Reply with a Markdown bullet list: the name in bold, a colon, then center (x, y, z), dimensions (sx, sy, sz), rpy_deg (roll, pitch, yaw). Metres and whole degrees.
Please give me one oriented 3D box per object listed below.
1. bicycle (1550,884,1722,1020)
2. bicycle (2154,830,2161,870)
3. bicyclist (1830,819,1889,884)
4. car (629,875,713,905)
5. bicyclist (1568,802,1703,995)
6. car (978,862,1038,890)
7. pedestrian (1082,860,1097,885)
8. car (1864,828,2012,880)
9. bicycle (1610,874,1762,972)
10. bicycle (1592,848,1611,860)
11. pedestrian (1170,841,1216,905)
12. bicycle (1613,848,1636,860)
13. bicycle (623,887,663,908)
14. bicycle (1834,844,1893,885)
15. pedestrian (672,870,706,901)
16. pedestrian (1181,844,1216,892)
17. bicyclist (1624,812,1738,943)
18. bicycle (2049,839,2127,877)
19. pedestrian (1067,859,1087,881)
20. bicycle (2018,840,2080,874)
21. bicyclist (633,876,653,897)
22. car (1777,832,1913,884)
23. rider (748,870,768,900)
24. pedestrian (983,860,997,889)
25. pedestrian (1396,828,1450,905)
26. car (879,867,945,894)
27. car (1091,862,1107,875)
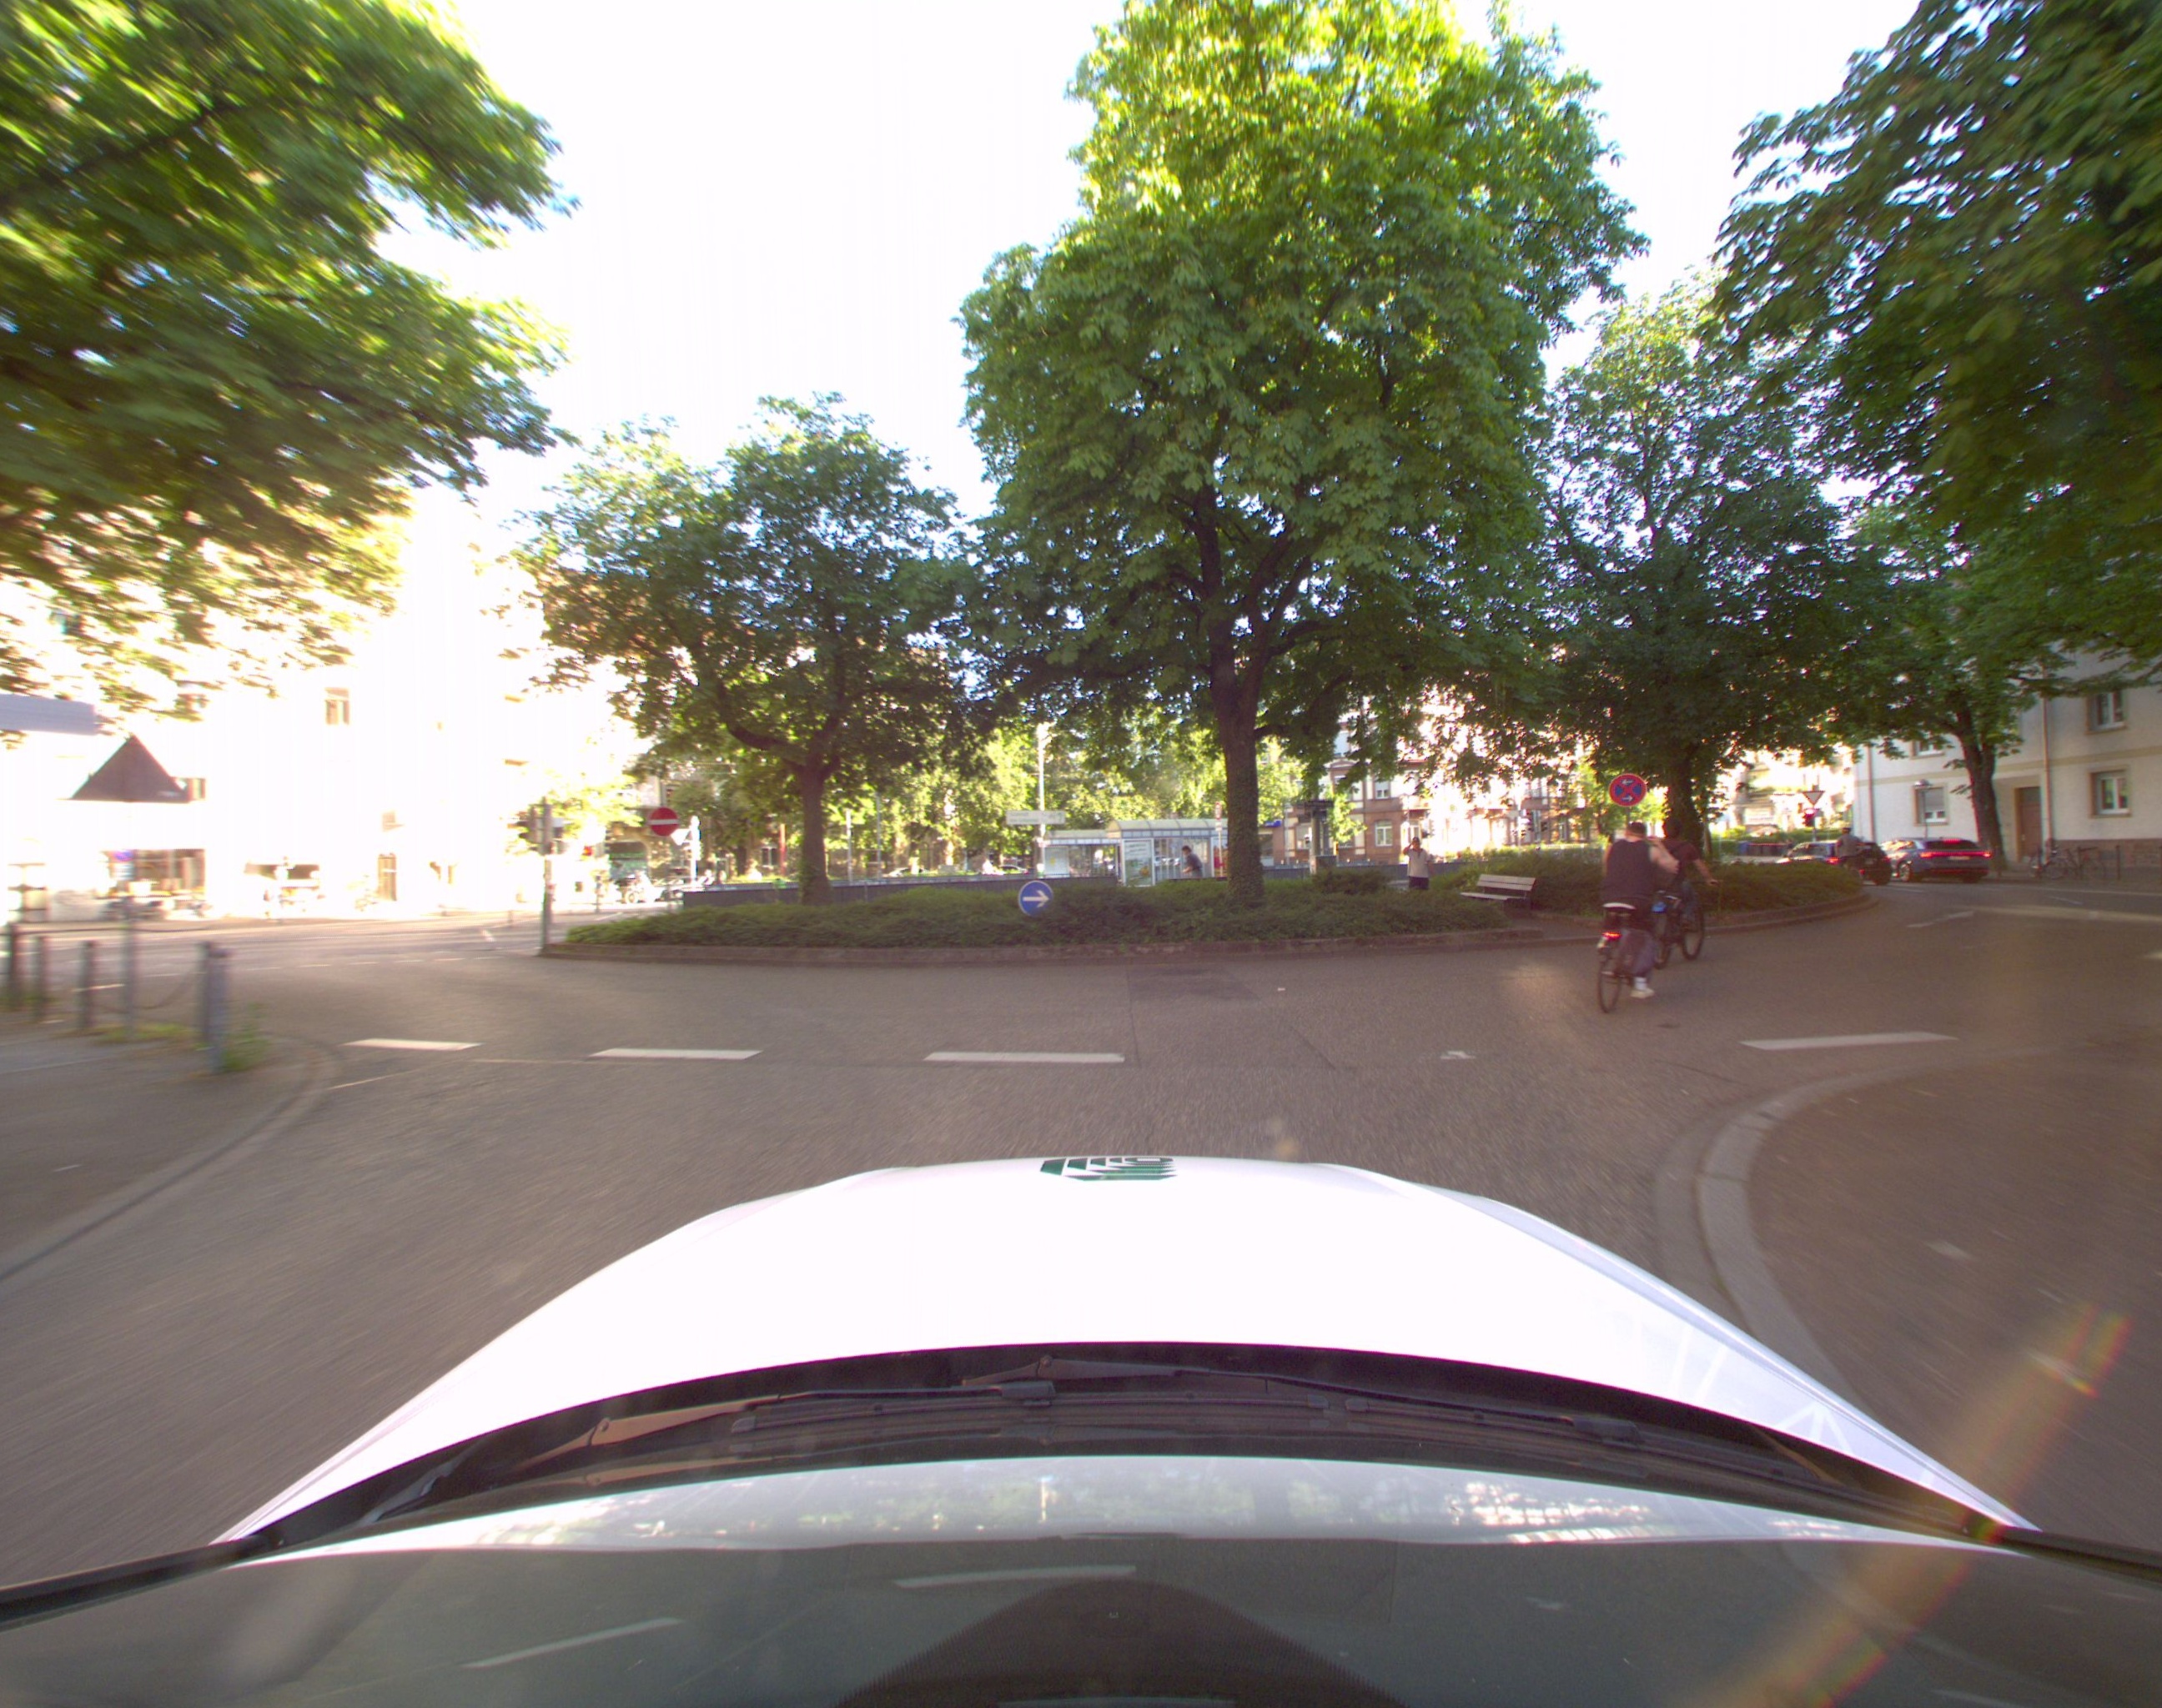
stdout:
- **bicycle**: center (5.289, 0.853, 7.708), dimensions (2.071, 1.012, 0.731), rpy_deg (-2, 0, -38)
- **bicycle**: center (31.505, -0.138, 22.982), dimensions (0.489, 1.172, 2.129), rpy_deg (-6, -3, 26)
- **bicyclist**: center (23.447, -0.067, 24.548), dimensions (0.843, 1.898, 1.146), rpy_deg (-3, -1, 22)
- **car**: center (-22.697, 1.974, 45.160), dimensions (1.877, 1.439, 3.729), rpy_deg (-2, 0, 27)
- **bicyclist**: center (5.217, 0.387, 7.667), dimensions (0.918, 1.682, 0.746), rpy_deg (-2, -1, -38)
- **car**: center (-5.395, 1.635, 60.221), dimensions (4.006, 1.871, 1.984), rpy_deg (-2, -1, -25)
- **pedestrian**: center (0.514, 1.168, 51.007), dimensions (0.809, 1.543, 0.818), rpy_deg (0, -1, -10)
- **car**: center (28.923, -0.003, 27.671), dimensions (1.875, 1.577, 4.021), rpy_deg (-2, 0, 21)
- **bicycle**: center (7.440, 0.802, 9.993), dimensions (2.067, 1.054, 0.670), rpy_deg (-1, -2, -29)
- **bicycle**: center (39.824, 0.014, 62.321), dimensions (1.217, 0.862, 0.450), rpy_deg (-2, -1, -4)
- **pedestrian**: center (3.008, 0.507, 21.849), dimensions (0.887, 1.684, 0.825), rpy_deg (-3, -1, 35)
- **bicycle**: center (42.142, -0.012, 63.137), dimensions (1.439, 0.862, 0.450), rpy_deg (-2, -1, -4)
- **bicycle**: center (-22.776, 2.254, 42.354), dimensions (0.646, 0.945, 1.753), rpy_deg (-2, -1, 28)
- **bicycle**: center (23.442, 0.309, 24.437), dimensions (0.592, 1.162, 2.053), rpy_deg (-2, -1, 25)
- **pedestrian**: center (-25.466, 2.043, 52.872), dimensions (1.244, 1.912, 1.503), rpy_deg (-3, -1, 31)
- **pedestrian**: center (4.729, 0.570, 32.875), dimensions (1.020, 1.897, 0.906), rpy_deg (-2, -1, -21)
- **bicyclist**: center (7.343, 0.273, 9.969), dimensions (1.072, 1.514, 0.667), rpy_deg (-1, -2, -29)
- **bicycle**: center (30.097, 0.113, 24.379), dimensions (0.610, 1.058, 1.939), rpy_deg (-4, -1, 25)
- **pedestrian**: center (-0.308, 1.208, 60.988), dimensions (1.069, 1.630, 0.993), rpy_deg (-2, -1, -35)
- **bicycle**: center (30.702, 0.083, 25.872), dimensions (0.515, 0.999, 2.205), rpy_deg (-3, -1, 30)
- **bicyclist**: center (-22.783, 1.685, 42.387), dimensions (0.605, 1.054, 0.681), rpy_deg (-2, -1, 28)
- **car**: center (25.894, 0.145, 27.800), dimensions (1.798, 1.543, 3.977), rpy_deg (-4, -2, 19)
- **rider**: center (-18.238, 1.730, 45.982), dimensions (0.814, 1.681, 0.672), rpy_deg (0, -1, 11)
- **pedestrian**: center (-5.439, 1.219, 48.497), dimensions (0.704, 1.695, 0.666), rpy_deg (0, -1, -21)
- **pedestrian**: center (7.694, 0.280, 18.363), dimensions (0.910, 1.684, 0.782), rpy_deg (-2, -1, 11)
- **car**: center (-11.637, 1.810, 56.120), dimensions (3.971, 1.679, 1.930), rpy_deg (-2, -1, -43)
- **car**: center (2.440, 1.965, 109.185), dimensions (1.751, 1.607, 4.008), rpy_deg (-2, -1, 7)
